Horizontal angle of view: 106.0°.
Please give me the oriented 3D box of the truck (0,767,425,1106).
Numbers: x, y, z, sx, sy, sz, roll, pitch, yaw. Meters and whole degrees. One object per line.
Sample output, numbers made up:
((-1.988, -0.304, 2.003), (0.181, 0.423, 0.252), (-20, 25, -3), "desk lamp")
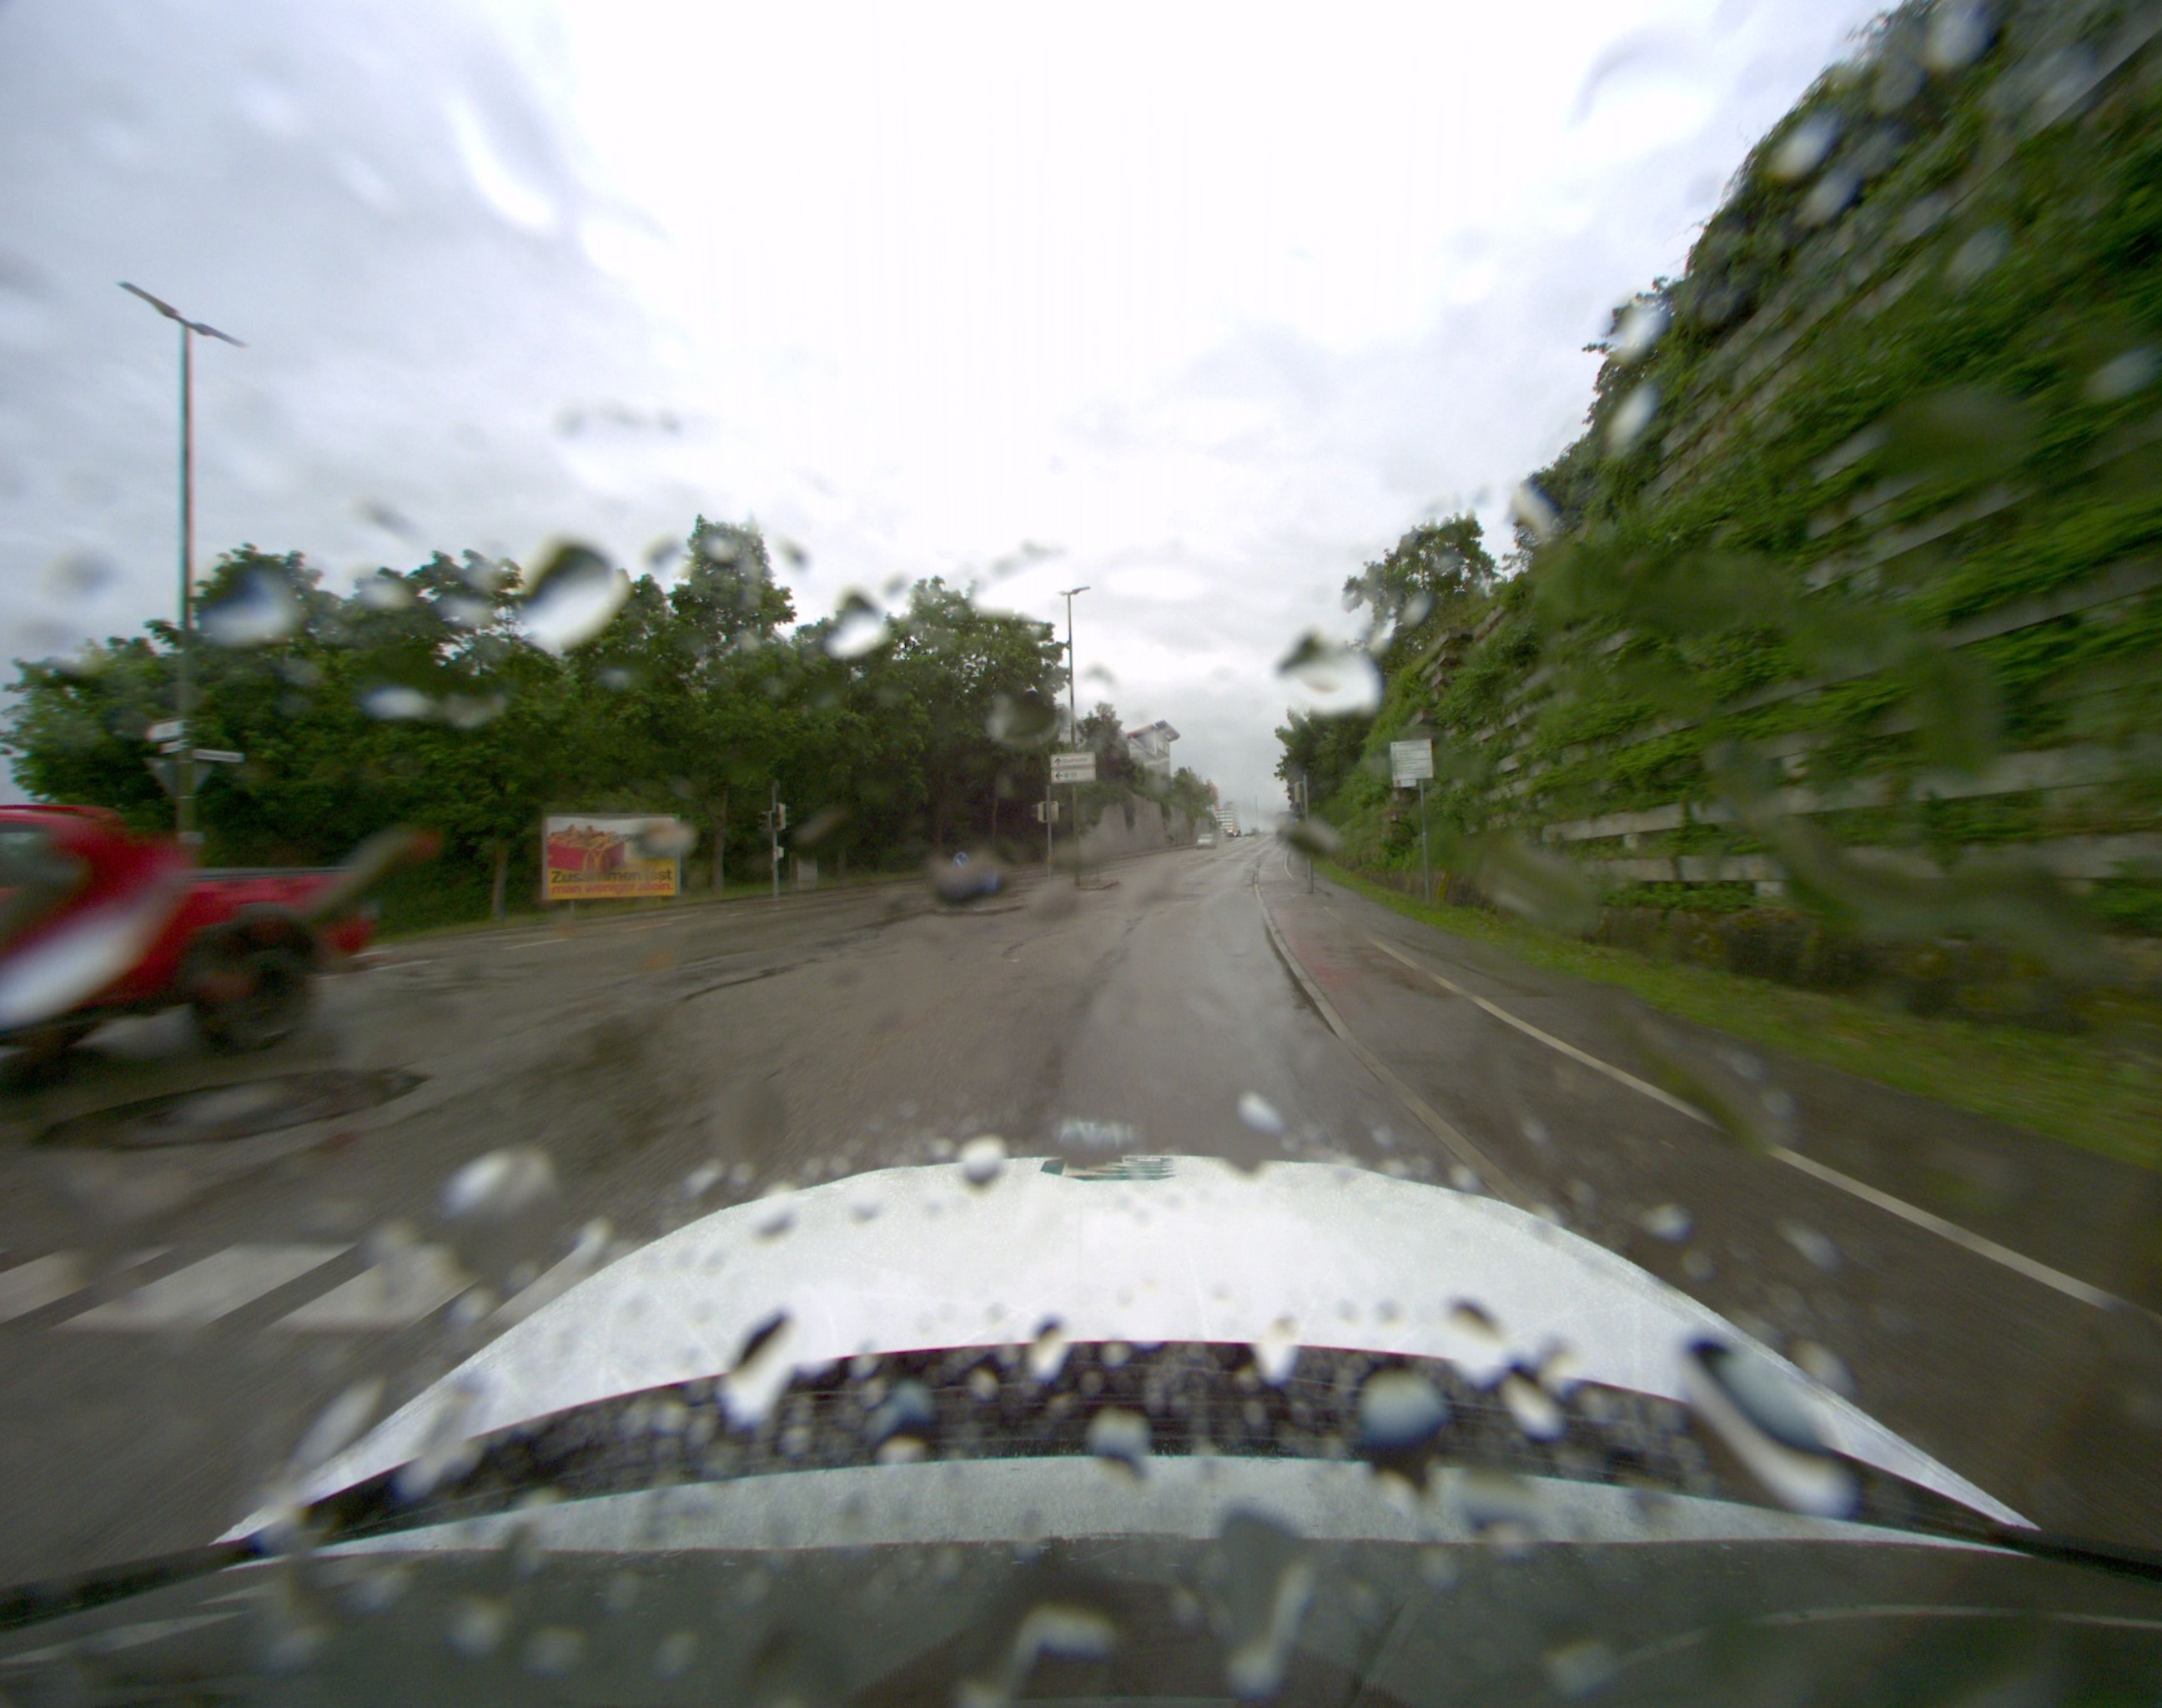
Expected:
((-7.396, 0.498, 5.164), (1.986, 2.013, 5.341), (-1, 0, 2), "truck")

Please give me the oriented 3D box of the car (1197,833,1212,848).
((12.438, -1.345, 81.942), (1.504, 1.448, 3.826), (-1, 0, 9), "car")
